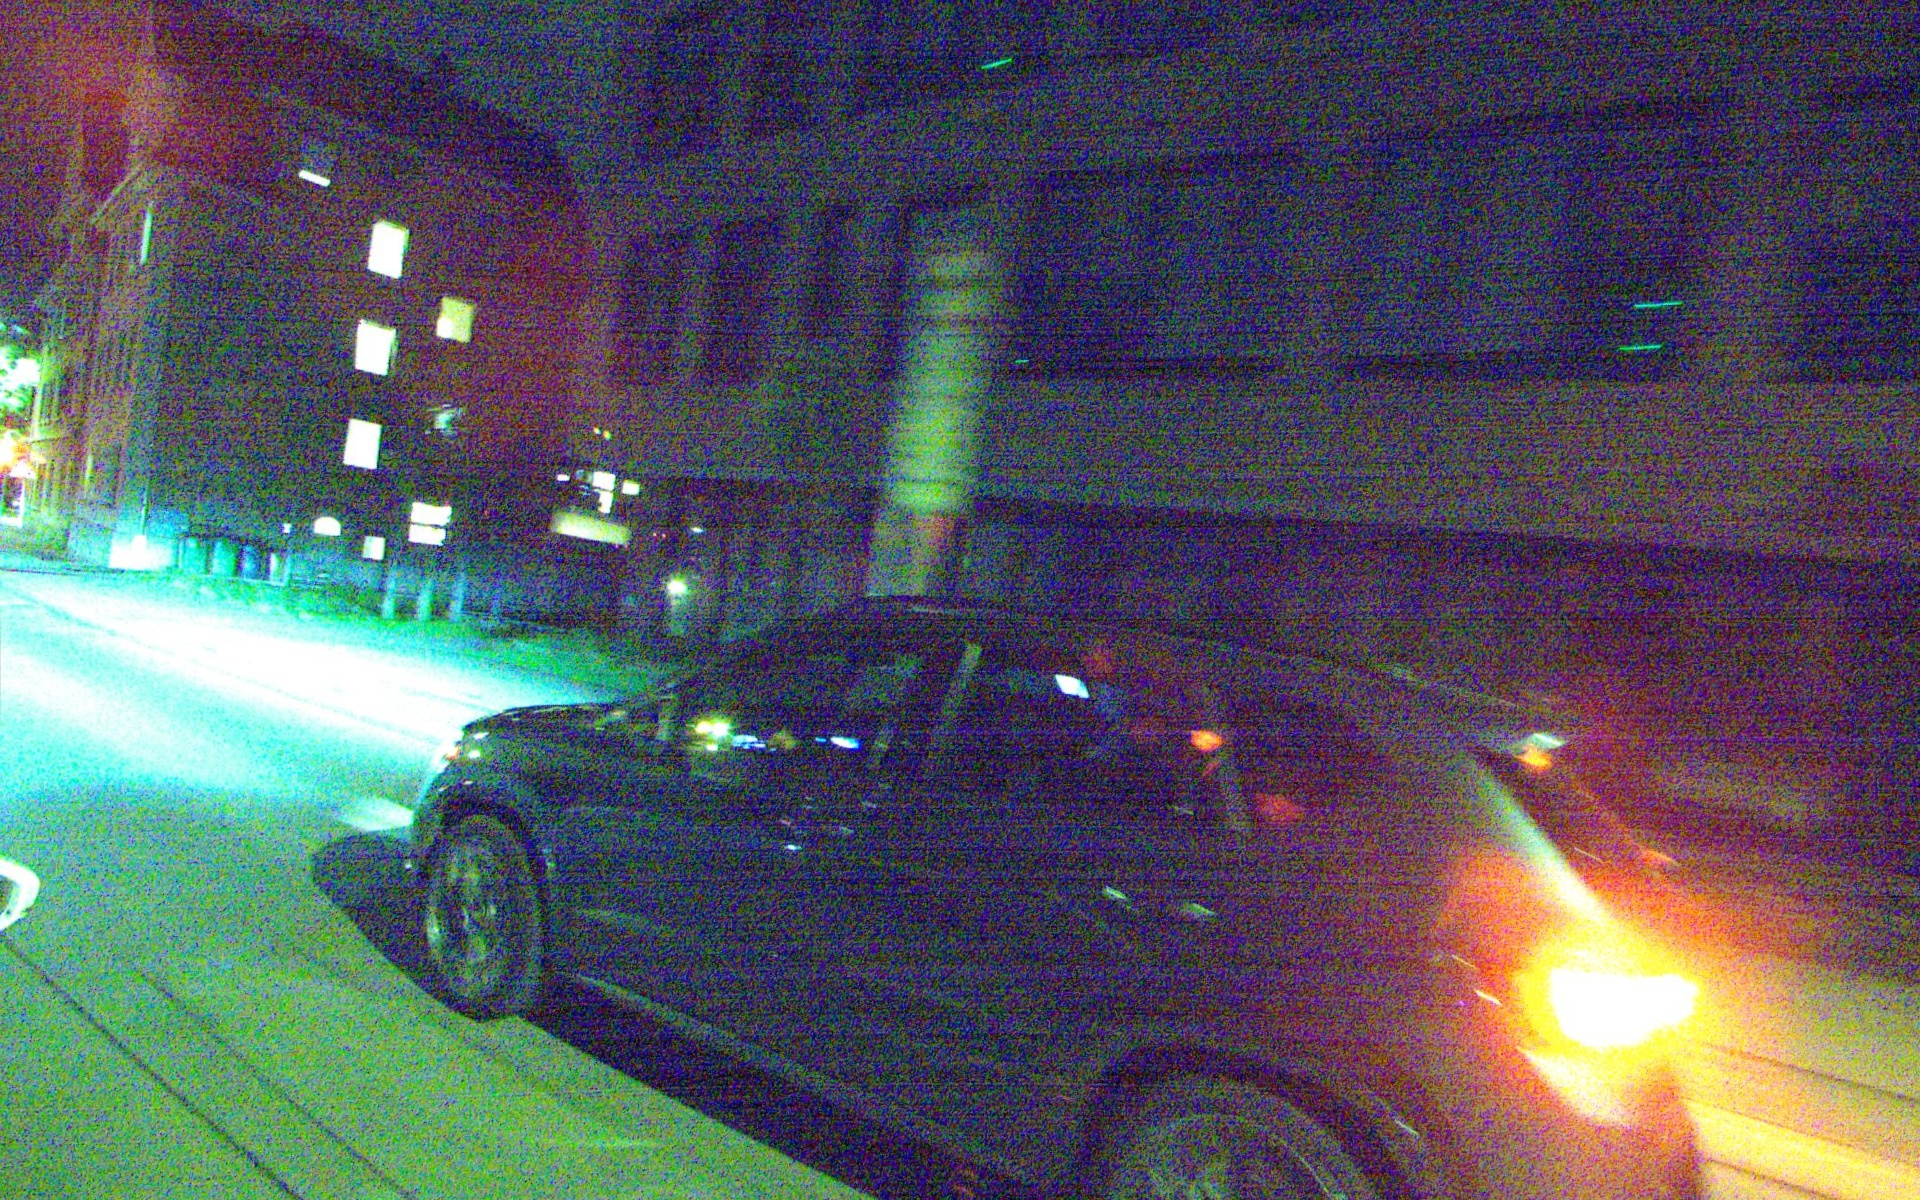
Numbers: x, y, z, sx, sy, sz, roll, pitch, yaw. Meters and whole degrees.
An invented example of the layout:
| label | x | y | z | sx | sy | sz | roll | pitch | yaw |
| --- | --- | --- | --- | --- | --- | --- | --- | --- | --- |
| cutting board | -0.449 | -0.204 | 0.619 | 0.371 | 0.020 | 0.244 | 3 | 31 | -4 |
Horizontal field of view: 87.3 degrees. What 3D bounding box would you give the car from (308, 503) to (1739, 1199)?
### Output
| label | x | y | z | sx | sy | sz | roll | pitch | yaw |
| --- | --- | --- | --- | --- | --- | --- | --- | --- | --- |
| car | -0.173 | 0.727 | 3.432 | 4.159 | 1.628 | 1.674 | 6 | -2 | 32 |
